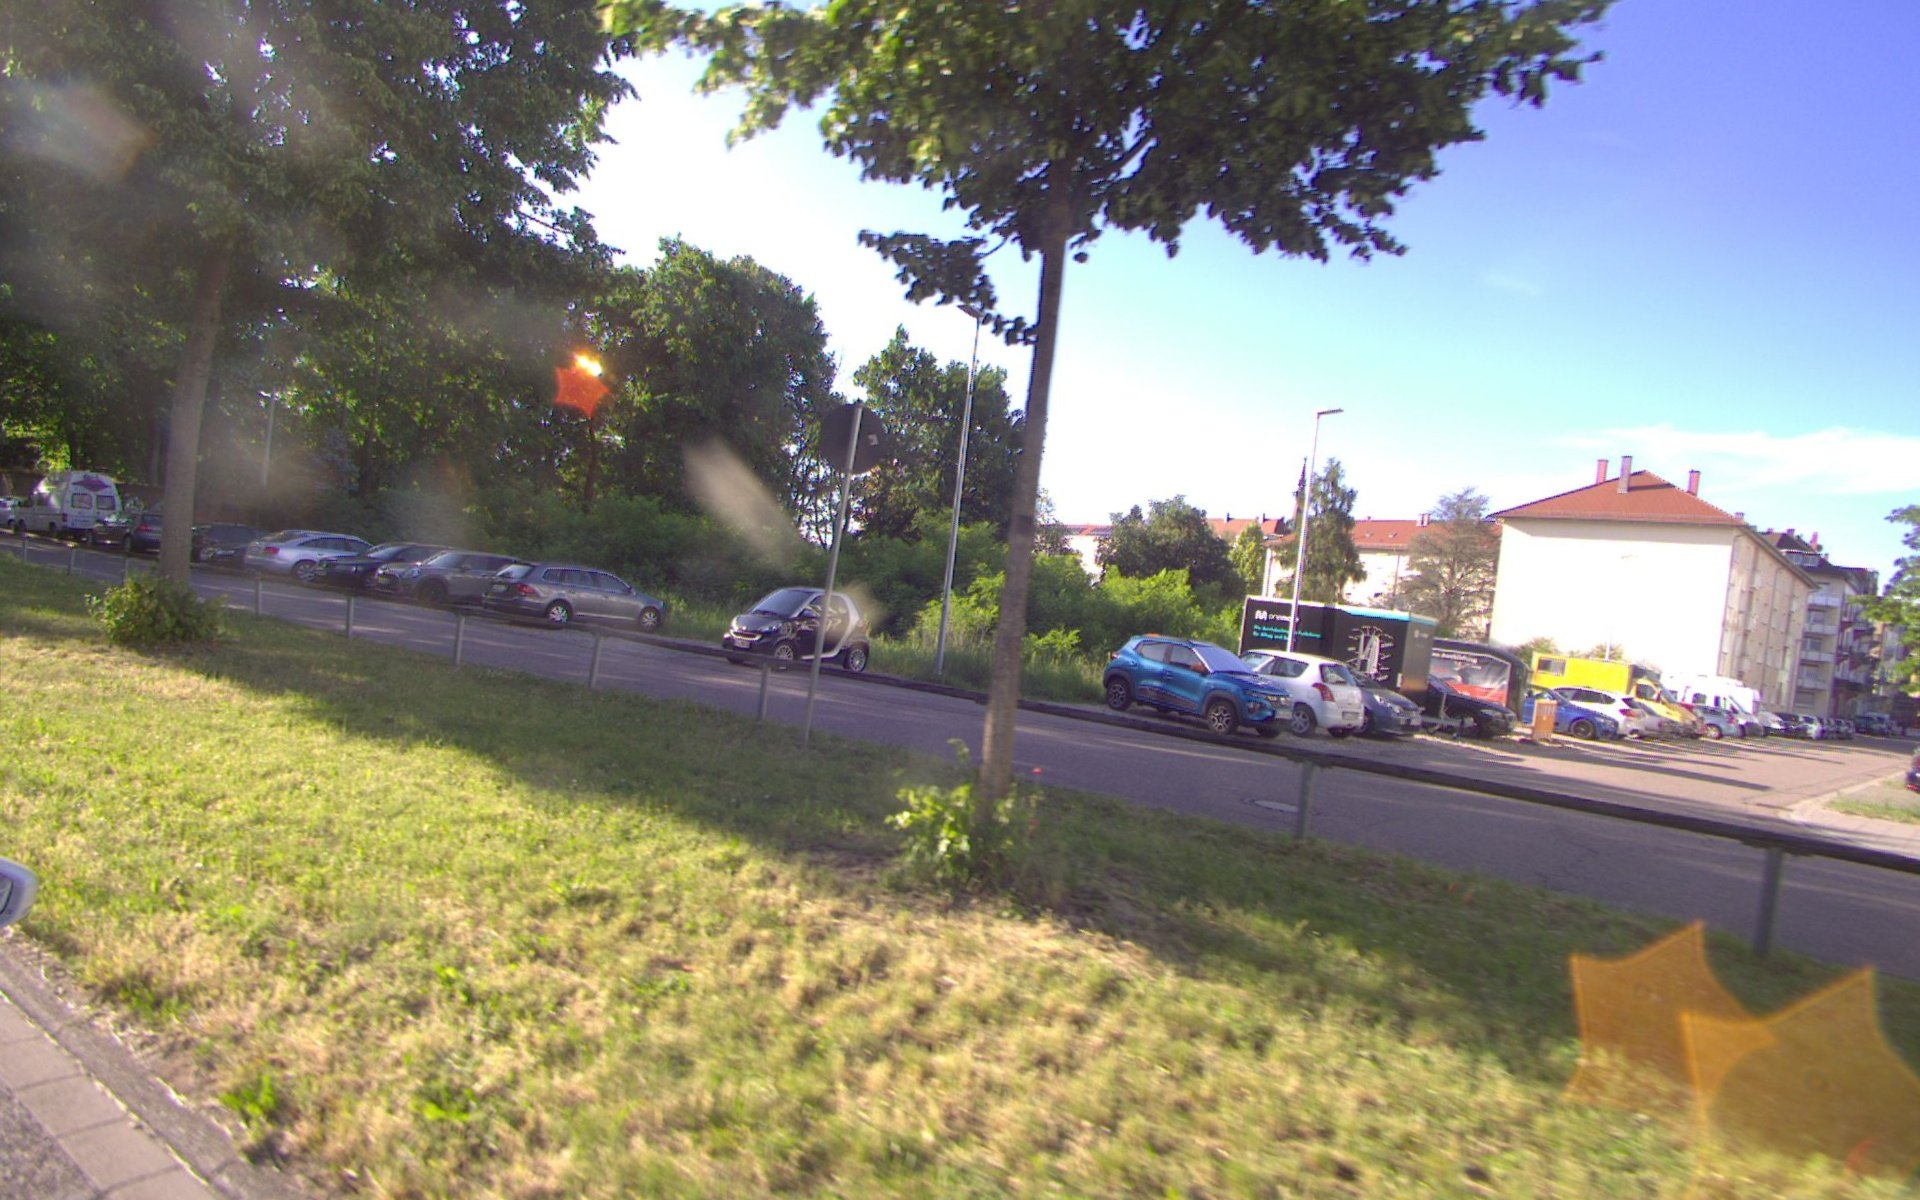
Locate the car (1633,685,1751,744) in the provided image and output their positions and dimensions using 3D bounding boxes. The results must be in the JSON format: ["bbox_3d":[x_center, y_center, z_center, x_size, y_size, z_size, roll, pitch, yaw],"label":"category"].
[{"bbox_3d":[33.445,5.209,46.028,1.988,2.037,3.952,9,-2,-43],"label":"car"}]

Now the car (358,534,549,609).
[{"bbox_3d":[-13.376,-0.699,26.820,1.752,1.517,4.197,7,0,29],"label":"car"}]

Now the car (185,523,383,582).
[{"bbox_3d":[-20.940,-1.435,31.364,1.967,1.425,4.718,7,2,32],"label":"car"}]

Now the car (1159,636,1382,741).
[{"bbox_3d":[6.140,1.735,20.239,1.740,1.553,3.840,9,-2,-39],"label":"car"}]

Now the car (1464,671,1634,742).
[{"bbox_3d":[18.833,3.377,32.305,1.821,1.492,4.221,8,0,-42],"label":"car"}]

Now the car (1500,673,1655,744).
[{"bbox_3d":[20.901,3.643,34.136,1.988,1.637,3.951,9,-1,-42],"label":"car"}]

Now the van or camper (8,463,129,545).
[{"bbox_3d":[-35.027,-3.763,39.489,4.879,2.768,1.995,6,3,29],"label":"van or camper"}]

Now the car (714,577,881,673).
[{"bbox_3d":[-3.060,0.512,19.239,1.442,1.569,2.761,6,0,41],"label":"car"}]

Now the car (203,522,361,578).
[{"bbox_3d":[-22.312,-1.605,33.254,1.593,1.410,3.990,6,1,31],"label":"car"}]

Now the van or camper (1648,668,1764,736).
[{"bbox_3d":[39.953,5.455,53.974,1.988,2.953,4.510,8,-2,-42],"label":"van or camper"}]

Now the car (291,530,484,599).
[{"bbox_3d":[-16.077,-0.958,28.483,1.874,1.497,4.333,8,2,28],"label":"car"}]

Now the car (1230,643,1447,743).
[{"bbox_3d":[8.015,1.954,21.589,1.711,1.558,3.909,9,-2,-39],"label":"car"}]

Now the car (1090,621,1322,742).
[{"bbox_3d":[4.345,1.423,18.227,1.585,1.566,3.778,6,2,-38],"label":"car"}]

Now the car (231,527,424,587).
[{"bbox_3d":[-18.584,-1.228,29.738,1.968,1.430,4.376,7,3,34],"label":"car"}]

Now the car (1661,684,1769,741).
[{"bbox_3d":[38.100,5.673,50.817,1.988,2.242,3.952,9,-2,-43],"label":"car"}]

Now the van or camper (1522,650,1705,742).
[{"bbox_3d":[26.568,3.852,41.049,5.775,2.925,1.990,5,-2,44],"label":"van or camper"}]

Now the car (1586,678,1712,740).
[{"bbox_3d":[29.233,4.606,42.730,1.988,2.037,3.952,9,-2,-43],"label":"car"}]

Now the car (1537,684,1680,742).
[{"bbox_3d":[23.475,4.067,36.533,1.724,1.368,3.952,9,-1,-42],"label":"car"}]

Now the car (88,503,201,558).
[{"bbox_3d":[-29.843,-2.539,36.801,3.934,1.595,1.994,7,2,32],"label":"car"}]

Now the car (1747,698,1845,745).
[{"bbox_3d":[47.879,6.926,57.648,1.987,2.037,3.955,9,-2,-41],"label":"car"}]

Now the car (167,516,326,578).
[{"bbox_3d":[-24.251,-1.776,34.365,1.734,1.523,3.997,7,-1,26],"label":"car"}]

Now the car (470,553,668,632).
[{"bbox_3d":[-9.107,-0.129,23.753,1.688,1.486,4.081,6,1,33],"label":"car"}]

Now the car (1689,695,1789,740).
[{"bbox_3d":[42.913,6.437,55.479,1.987,1.836,3.955,9,-2,-41],"label":"car"}]

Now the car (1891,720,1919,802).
[{"bbox_3d":[21.128,3.470,19.763,1.989,1.592,3.952,9,-3,-43],"label":"car"}]

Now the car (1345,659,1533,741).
[{"bbox_3d":[12.136,2.507,25.648,1.774,1.513,3.840,9,-2,-39],"label":"car"}]

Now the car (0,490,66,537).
[{"bbox_3d":[-39.824,-3.693,42.216,3.926,1.640,1.842,7,3,21],"label":"car"}]

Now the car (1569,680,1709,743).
[{"bbox_3d":[25.602,4.187,37.996,1.988,1.749,3.950,7,0,-44],"label":"car"}]
